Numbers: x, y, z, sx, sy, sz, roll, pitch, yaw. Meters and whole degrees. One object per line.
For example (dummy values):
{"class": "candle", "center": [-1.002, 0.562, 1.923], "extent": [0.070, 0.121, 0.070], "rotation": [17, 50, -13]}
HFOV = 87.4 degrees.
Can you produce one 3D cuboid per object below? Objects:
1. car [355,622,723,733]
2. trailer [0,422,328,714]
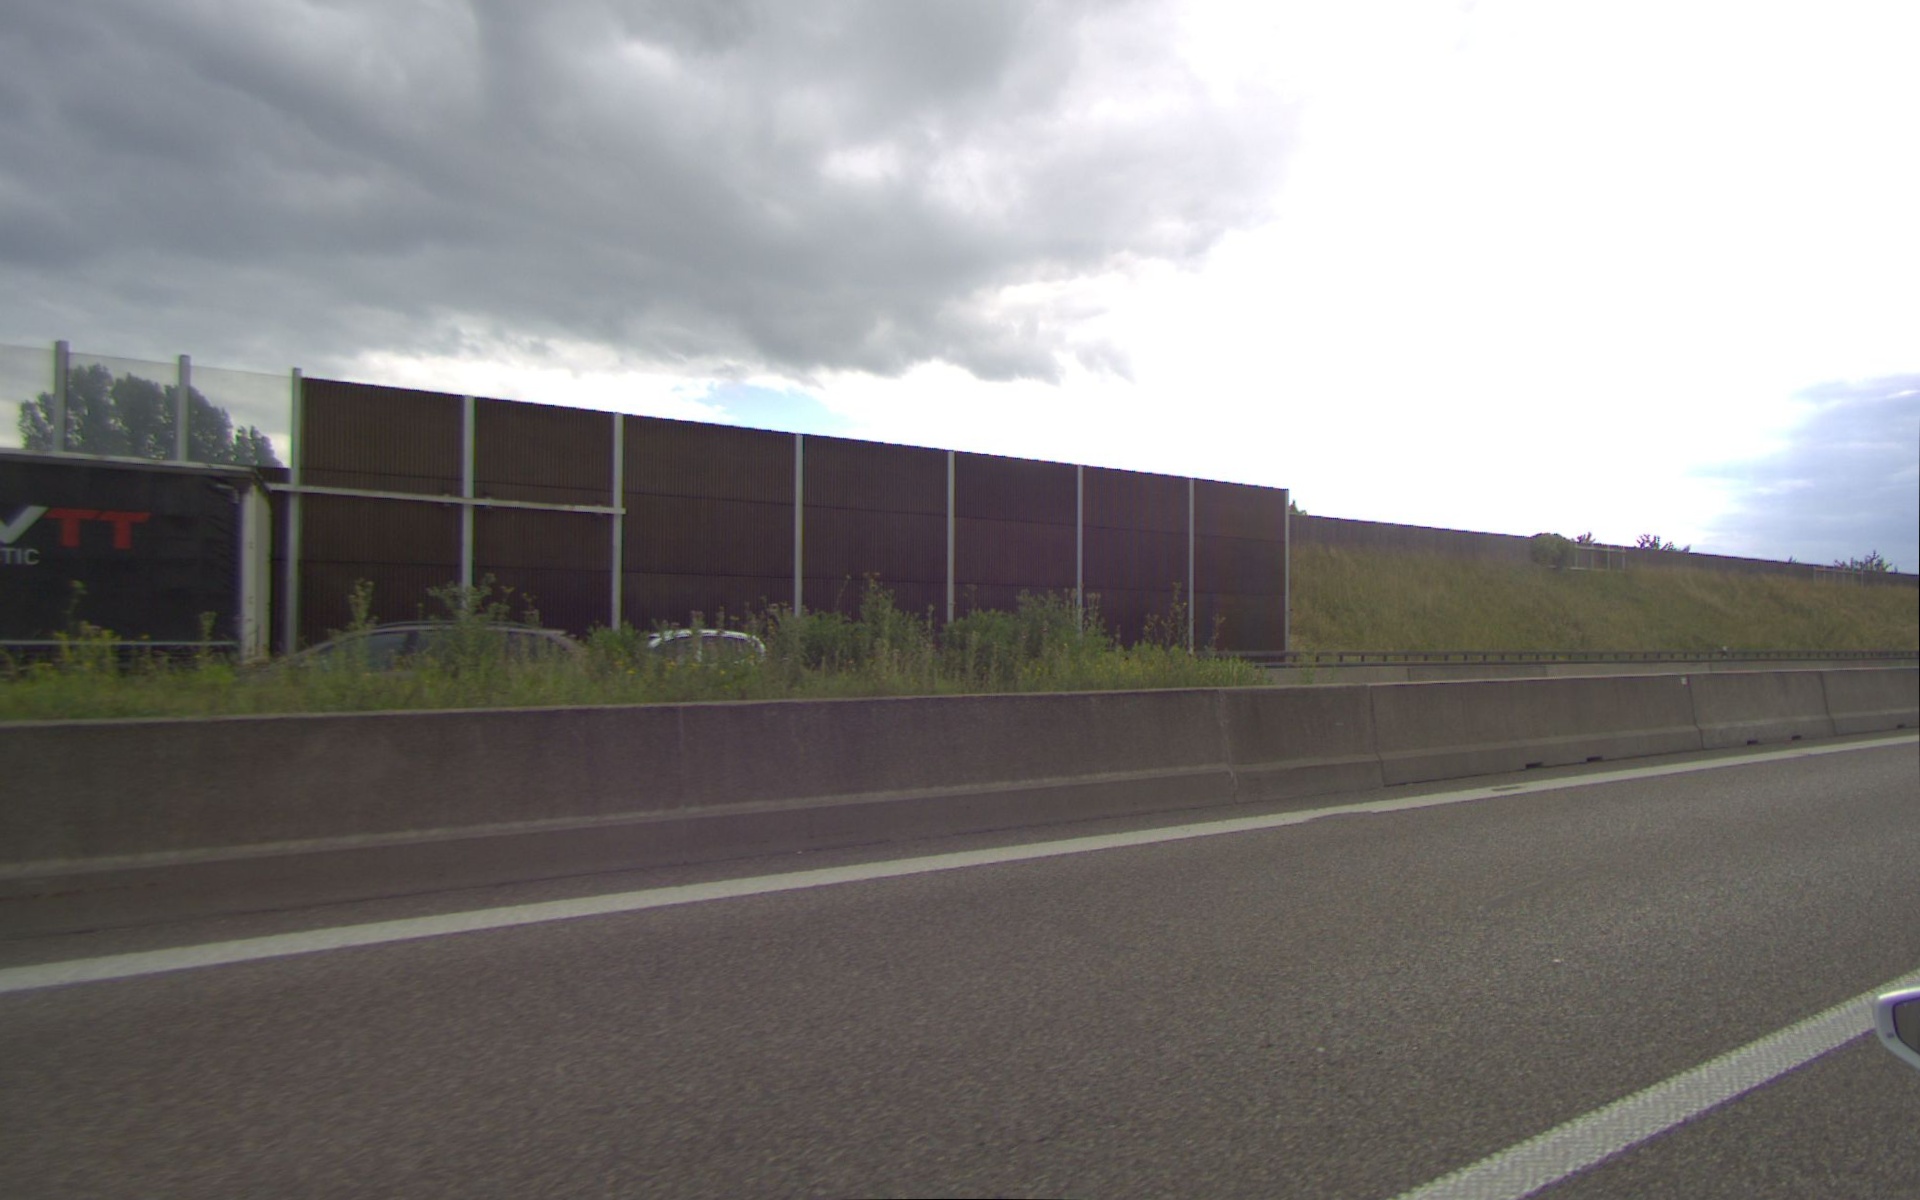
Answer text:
{"class": "car", "center": [-6.301, 1.091, 15.256], "extent": [4.883, 1.382, 1.983], "rotation": [2, 0, -31]}
{"class": "trailer", "center": [-16.447, -0.526, 14.121], "extent": [12.528, 4.033, 3.654], "rotation": [2, 0, -30]}
